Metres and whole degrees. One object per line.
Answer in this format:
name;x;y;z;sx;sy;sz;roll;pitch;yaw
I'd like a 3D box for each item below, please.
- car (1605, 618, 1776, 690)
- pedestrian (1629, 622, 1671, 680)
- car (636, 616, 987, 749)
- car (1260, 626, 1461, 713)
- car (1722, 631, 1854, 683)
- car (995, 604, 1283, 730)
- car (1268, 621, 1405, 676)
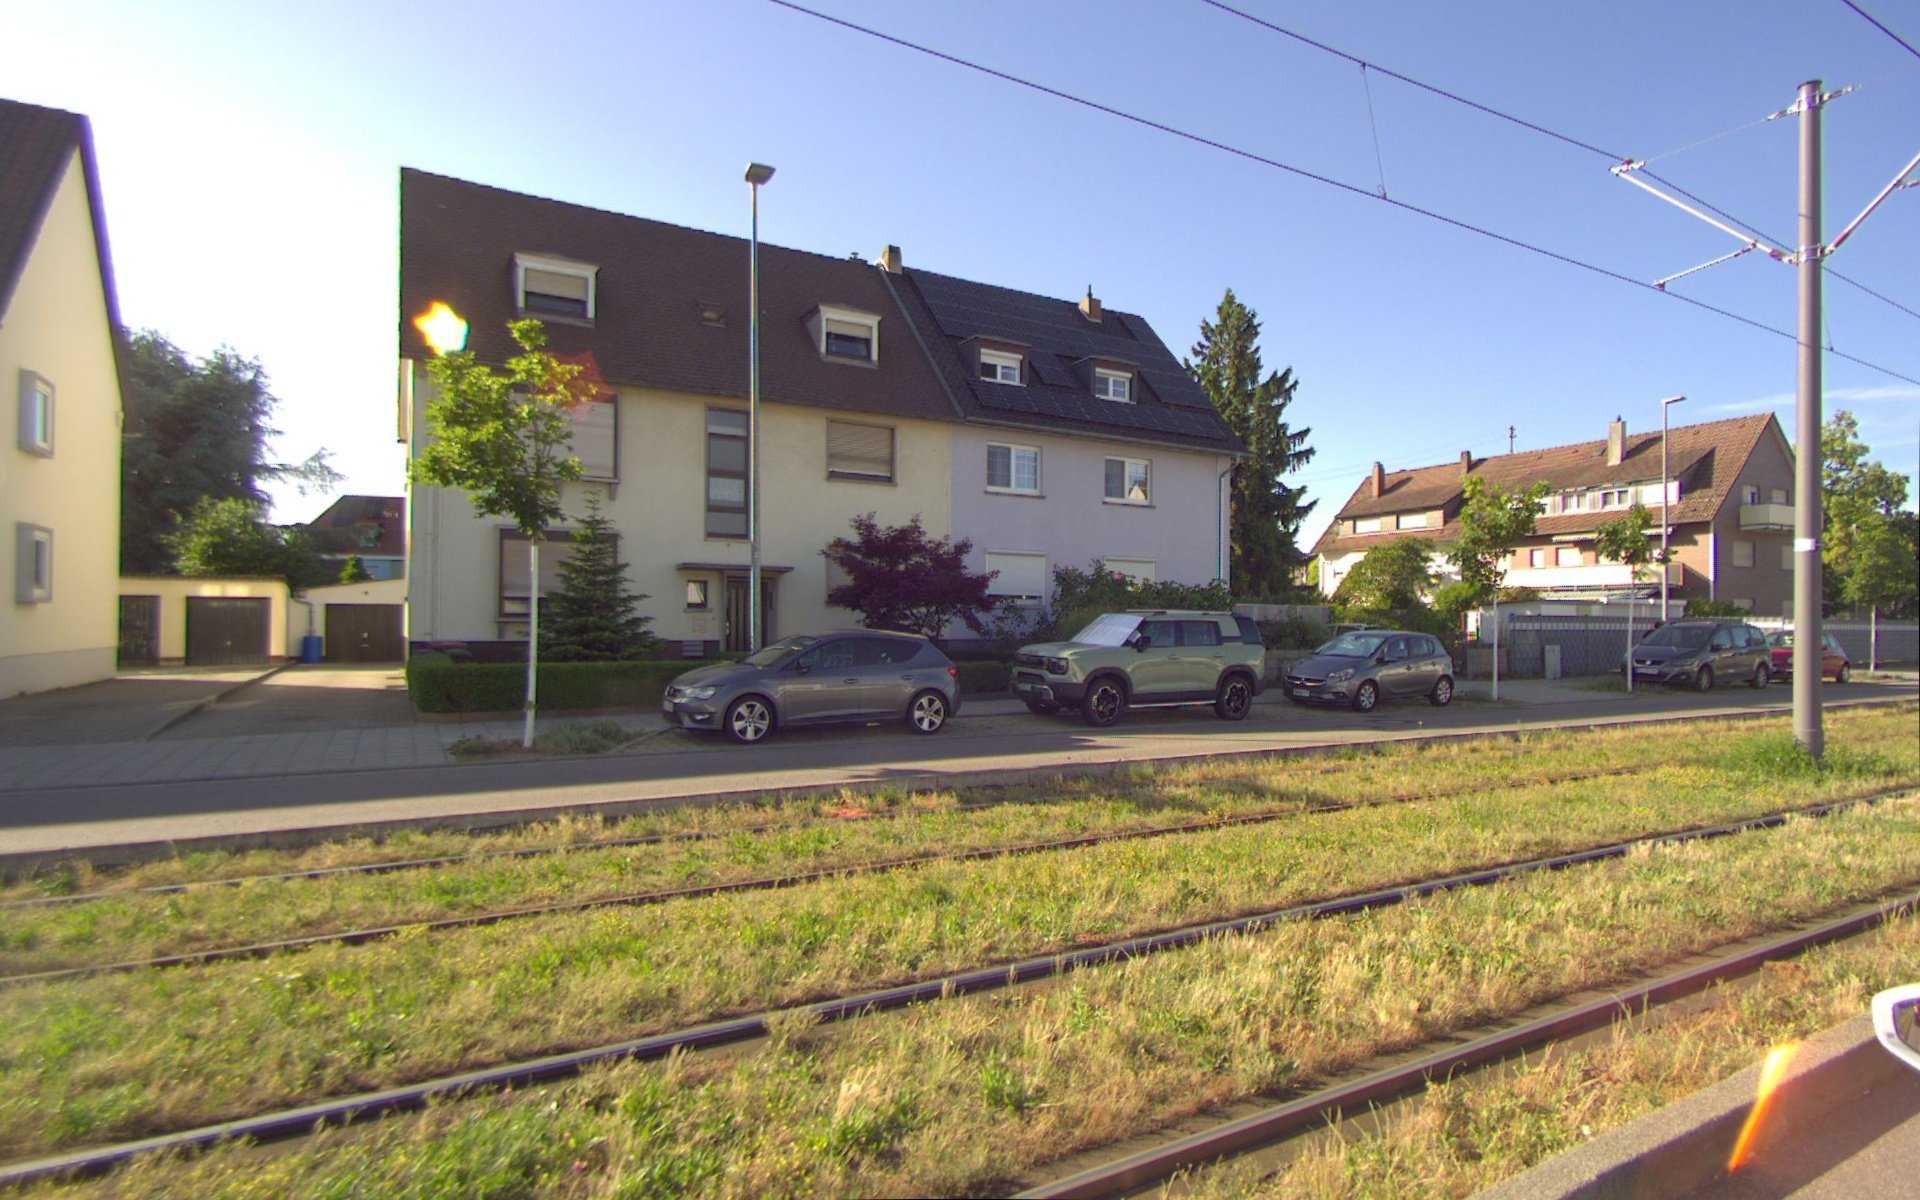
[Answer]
car;19.246;1.366;26.413;4.788;1.707;1.811;1;1;-30
pedestrian;20.502;1.507;29.848;0.910;1.662;0.692;1;0;-32
car;-2.046;1.070;14.169;4.504;1.561;1.951;2;0;-31
car;8.010;1.318;19.993;4.006;1.511;1.667;1;0;-33
car;24.311;1.633;29.468;4.029;1.423;1.688;1;-2;-30
car;3.075;1.047;16.944;4.784;1.847;1.737;1;1;-30
car;11.029;1.392;29.634;1.684;1.493;3.598;1;-1;-28
